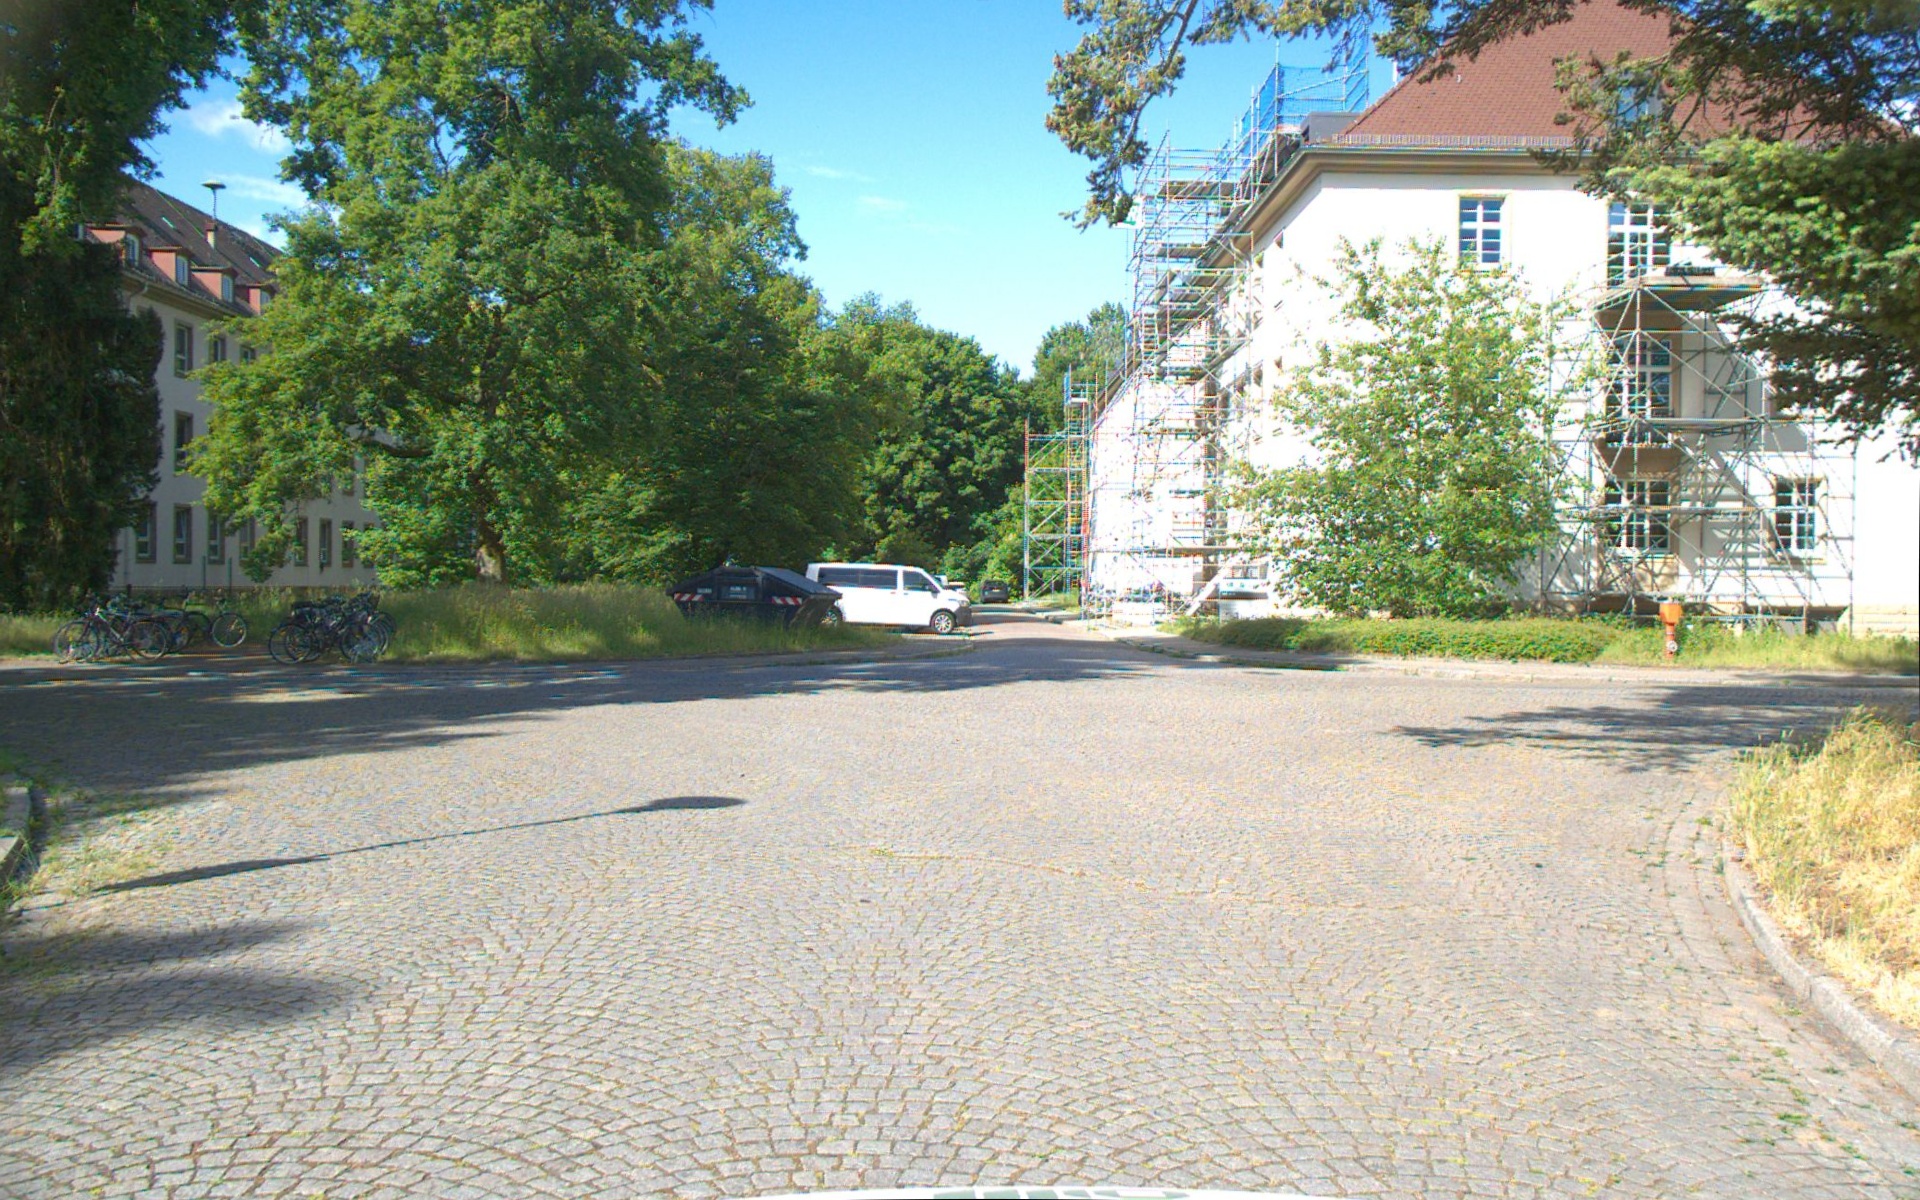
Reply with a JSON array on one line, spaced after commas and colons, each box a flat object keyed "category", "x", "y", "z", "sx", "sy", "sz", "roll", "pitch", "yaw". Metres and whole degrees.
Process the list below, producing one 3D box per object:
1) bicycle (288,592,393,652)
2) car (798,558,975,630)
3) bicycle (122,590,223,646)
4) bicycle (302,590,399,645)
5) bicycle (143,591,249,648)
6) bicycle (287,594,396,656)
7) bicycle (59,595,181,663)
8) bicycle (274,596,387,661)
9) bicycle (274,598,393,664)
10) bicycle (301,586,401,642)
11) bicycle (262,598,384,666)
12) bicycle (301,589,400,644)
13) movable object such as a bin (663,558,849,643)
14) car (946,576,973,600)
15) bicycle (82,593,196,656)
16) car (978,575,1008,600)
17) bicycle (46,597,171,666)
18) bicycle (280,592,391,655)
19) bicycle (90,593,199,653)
[{"category": "bicycle", "x": -12.096, "y": 0.423, "z": 32.332, "sx": 1.886, "sy": 1.076, "sz": 0.473, "roll": -2, "pitch": 1, "yaw": -22}, {"category": "car", "x": -2.151, "y": -0.173, "z": 49.162, "sx": 5.128, "sy": 2.051, "sz": 1.950, "roll": 0, "pitch": 0, "yaw": -1}, {"category": "bicycle", "x": -16.525, "y": 0.372, "z": 34.743, "sx": 1.888, "sy": 1.122, "sz": 0.566, "roll": 0, "pitch": 2, "yaw": -25}, {"category": "bicycle", "x": -12.875, "y": 0.356, "z": 34.959, "sx": 1.886, "sy": 1.076, "sz": 0.473, "roll": -2, "pitch": 1, "yaw": -22}, {"category": "bicycle", "x": -15.355, "y": 0.386, "z": 33.299, "sx": 1.884, "sy": 1.122, "sz": 0.567, "roll": 0, "pitch": 2, "yaw": -20}, {"category": "bicycle", "x": -11.773, "y": 0.463, "z": 31.494, "sx": 1.888, "sy": 1.076, "sz": 0.472, "roll": -2, "pitch": 1, "yaw": -24}, {"category": "bicycle", "x": -14.873, "y": 0.502, "z": 29.324, "sx": 1.889, "sy": 1.122, "sz": 0.566, "roll": -1, "pitch": 2, "yaw": -25}, {"category": "bicycle", "x": -11.472, "y": 0.509, "z": 30.146, "sx": 1.888, "sy": 1.076, "sz": 0.472, "roll": -2, "pitch": 1, "yaw": -24}, {"category": "bicycle", "x": -11.032, "y": 0.533, "z": 29.161, "sx": 1.893, "sy": 1.076, "sz": 0.471, "roll": -2, "pitch": 1, "yaw": -30}, {"category": "bicycle", "x": -12.530, "y": 0.274, "z": 34.058, "sx": 1.886, "sy": 1.076, "sz": 0.473, "roll": -2, "pitch": 1, "yaw": -22}, {"category": "bicycle", "x": -11.013, "y": 0.533, "z": 28.605, "sx": 1.893, "sy": 1.076, "sz": 0.471, "roll": -2, "pitch": 1, "yaw": -30}, {"category": "bicycle", "x": -12.712, "y": 0.338, "z": 34.523, "sx": 1.886, "sy": 1.076, "sz": 0.473, "roll": -2, "pitch": 1, "yaw": -22}, {"category": "movable object such as a bin", "x": -4.425, "y": -0.008, "z": 36.034, "sx": 3.490, "sy": 1.775, "sz": 2.026, "roll": 0, "pitch": 1, "yaw": 18}, {"category": "car", "x": -0.041, "y": -0.844, "z": 115.203, "sx": 1.775, "sy": 1.607, "sz": 4.134, "roll": 0, "pitch": 1, "yaw": -1}, {"category": "bicycle", "x": -15.339, "y": 0.444, "z": 30.915, "sx": 1.892, "sy": 1.122, "sz": 0.565, "roll": 0, "pitch": 2, "yaw": -29}, {"category": "car", "x": 2.312, "y": -0.902, "z": 115.537, "sx": 1.931, "sy": 1.697, "sz": 4.085, "roll": 0, "pitch": 1, "yaw": -1}, {"category": "bicycle", "x": -14.791, "y": 0.531, "z": 28.769, "sx": 1.889, "sy": 1.122, "sz": 0.566, "roll": -1, "pitch": 2, "yaw": -25}, {"category": "bicycle", "x": -11.586, "y": 0.427, "z": 30.706, "sx": 1.888, "sy": 1.076, "sz": 0.472, "roll": -2, "pitch": 1, "yaw": -24}, {"category": "bicycle", "x": -15.872, "y": 0.429, "z": 32.207, "sx": 1.892, "sy": 1.122, "sz": 0.565, "roll": 0, "pitch": 2, "yaw": -29}]
